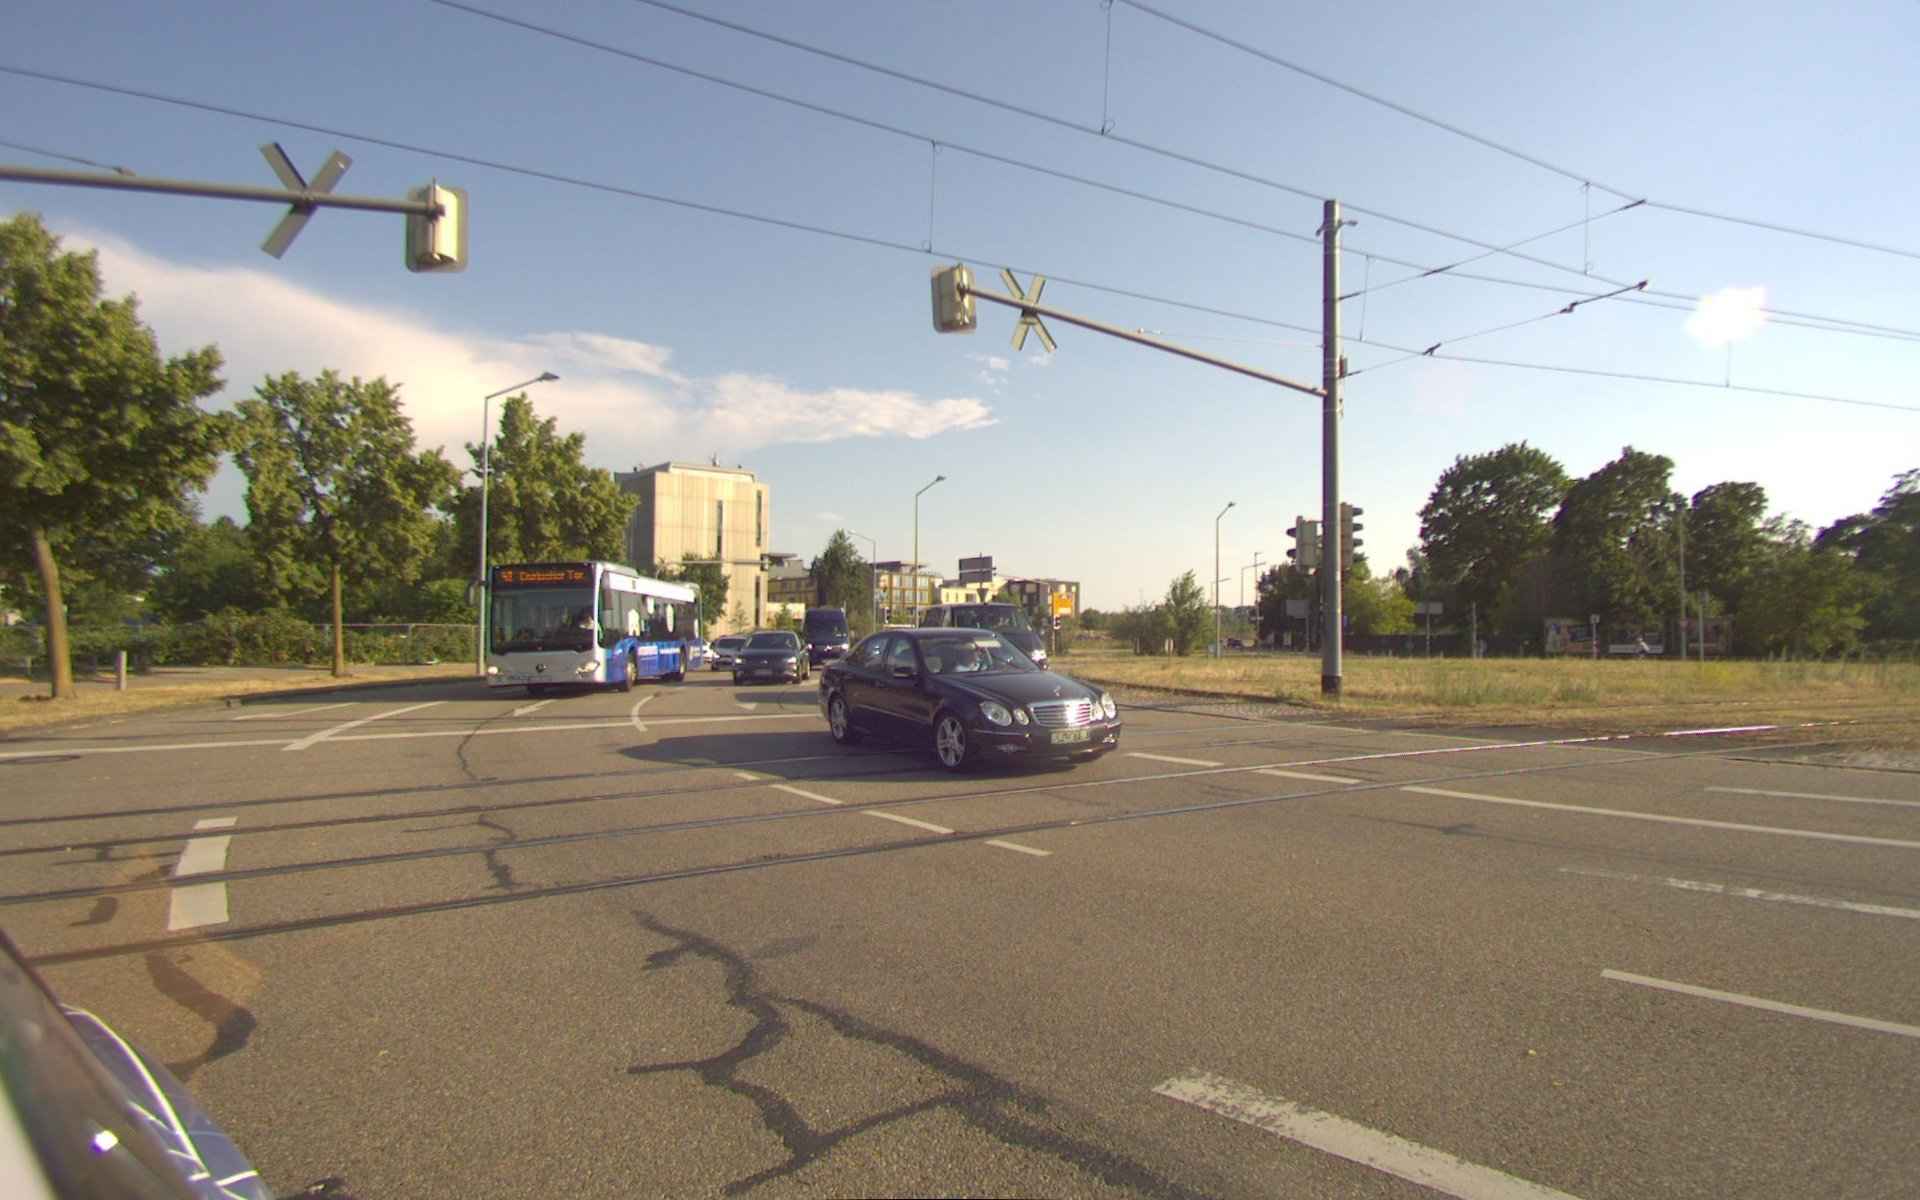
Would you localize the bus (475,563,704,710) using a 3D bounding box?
[{"bbox_3d":[-9.329,0.958,27.264,2.558,3.066,11.727,-1,-2,-4],"label":"bus"}]

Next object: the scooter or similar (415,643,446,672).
[{"bbox_3d":[-22.102,2.400,42.247,0.340,1.168,1.161,-1,-3,23],"label":"scooter or similar"}]

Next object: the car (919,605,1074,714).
[{"bbox_3d":[0.588,1.152,20.974,1.831,1.947,5.026,-1,-1,-14],"label":"car"}]

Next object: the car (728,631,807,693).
[{"bbox_3d":[-5.318,1.681,28.355,1.784,1.521,4.167,-1,-1,-5],"label":"car"}]

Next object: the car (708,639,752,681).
[{"bbox_3d":[-9.717,2.497,42.877,1.612,1.614,3.533,-1,-1,-10],"label":"car"}]

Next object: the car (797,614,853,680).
[{"bbox_3d":[-5.771,1.906,42.742,1.950,2.537,5.922,-1,-1,-11],"label":"car"}]

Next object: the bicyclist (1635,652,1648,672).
[{"bbox_3d":[45.847,4.160,68.068,0.653,1.336,0.512,-2,-4,37],"label":"bicyclist"}]

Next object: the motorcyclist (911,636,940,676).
[{"bbox_3d":[-1.445,2.328,42.215,1.025,1.603,1.442,1,-2,-8],"label":"motorcyclist"}]

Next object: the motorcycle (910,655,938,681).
[{"bbox_3d":[-1.526,2.815,42.269,0.940,0.969,2.895,1,-2,-7],"label":"motorcycle"}]

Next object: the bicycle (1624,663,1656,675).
[{"bbox_3d":[45.781,4.629,68.148,1.719,0.750,0.474,-2,-4,38],"label":"bicycle"}]

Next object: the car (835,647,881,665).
[{"bbox_3d":[-8.108,4.446,80.081,3.831,1.360,1.460,-2,-3,43],"label":"car"}]

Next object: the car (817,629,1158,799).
[{"bbox_3d":[0.044,1.073,11.302,1.780,1.448,4.508,-1,-1,-28],"label":"car"}]
